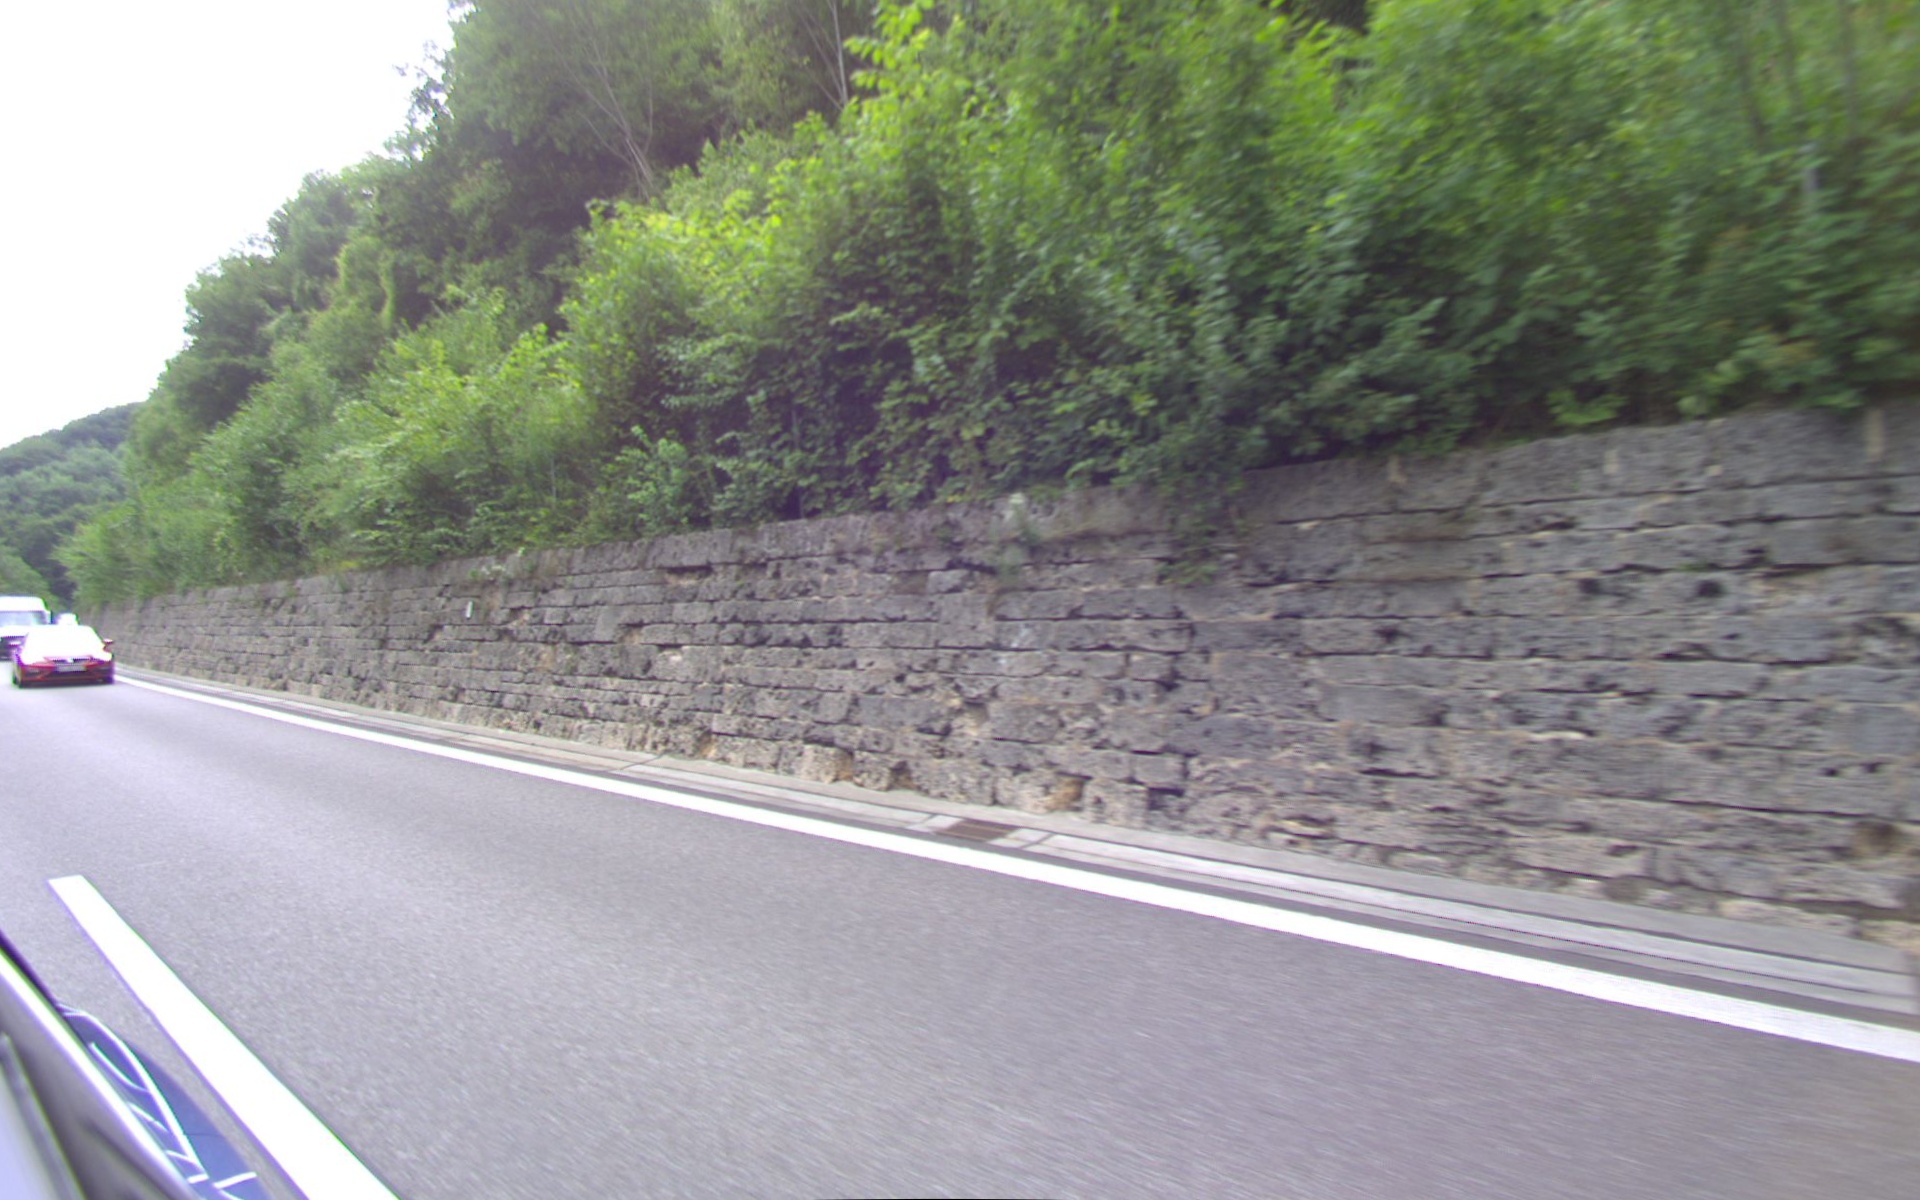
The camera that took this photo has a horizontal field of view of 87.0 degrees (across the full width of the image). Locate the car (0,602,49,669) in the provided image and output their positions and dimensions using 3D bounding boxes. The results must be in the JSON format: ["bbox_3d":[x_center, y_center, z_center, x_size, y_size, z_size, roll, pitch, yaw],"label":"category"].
[{"bbox_3d":[-39.590,1.471,42.462,2.001,2.605,6.282,0,-1,-42],"label":"car"}]

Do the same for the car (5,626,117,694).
[{"bbox_3d":[-22.083,1.405,24.801,4.413,1.471,1.746,-2,-1,44],"label":"car"}]
